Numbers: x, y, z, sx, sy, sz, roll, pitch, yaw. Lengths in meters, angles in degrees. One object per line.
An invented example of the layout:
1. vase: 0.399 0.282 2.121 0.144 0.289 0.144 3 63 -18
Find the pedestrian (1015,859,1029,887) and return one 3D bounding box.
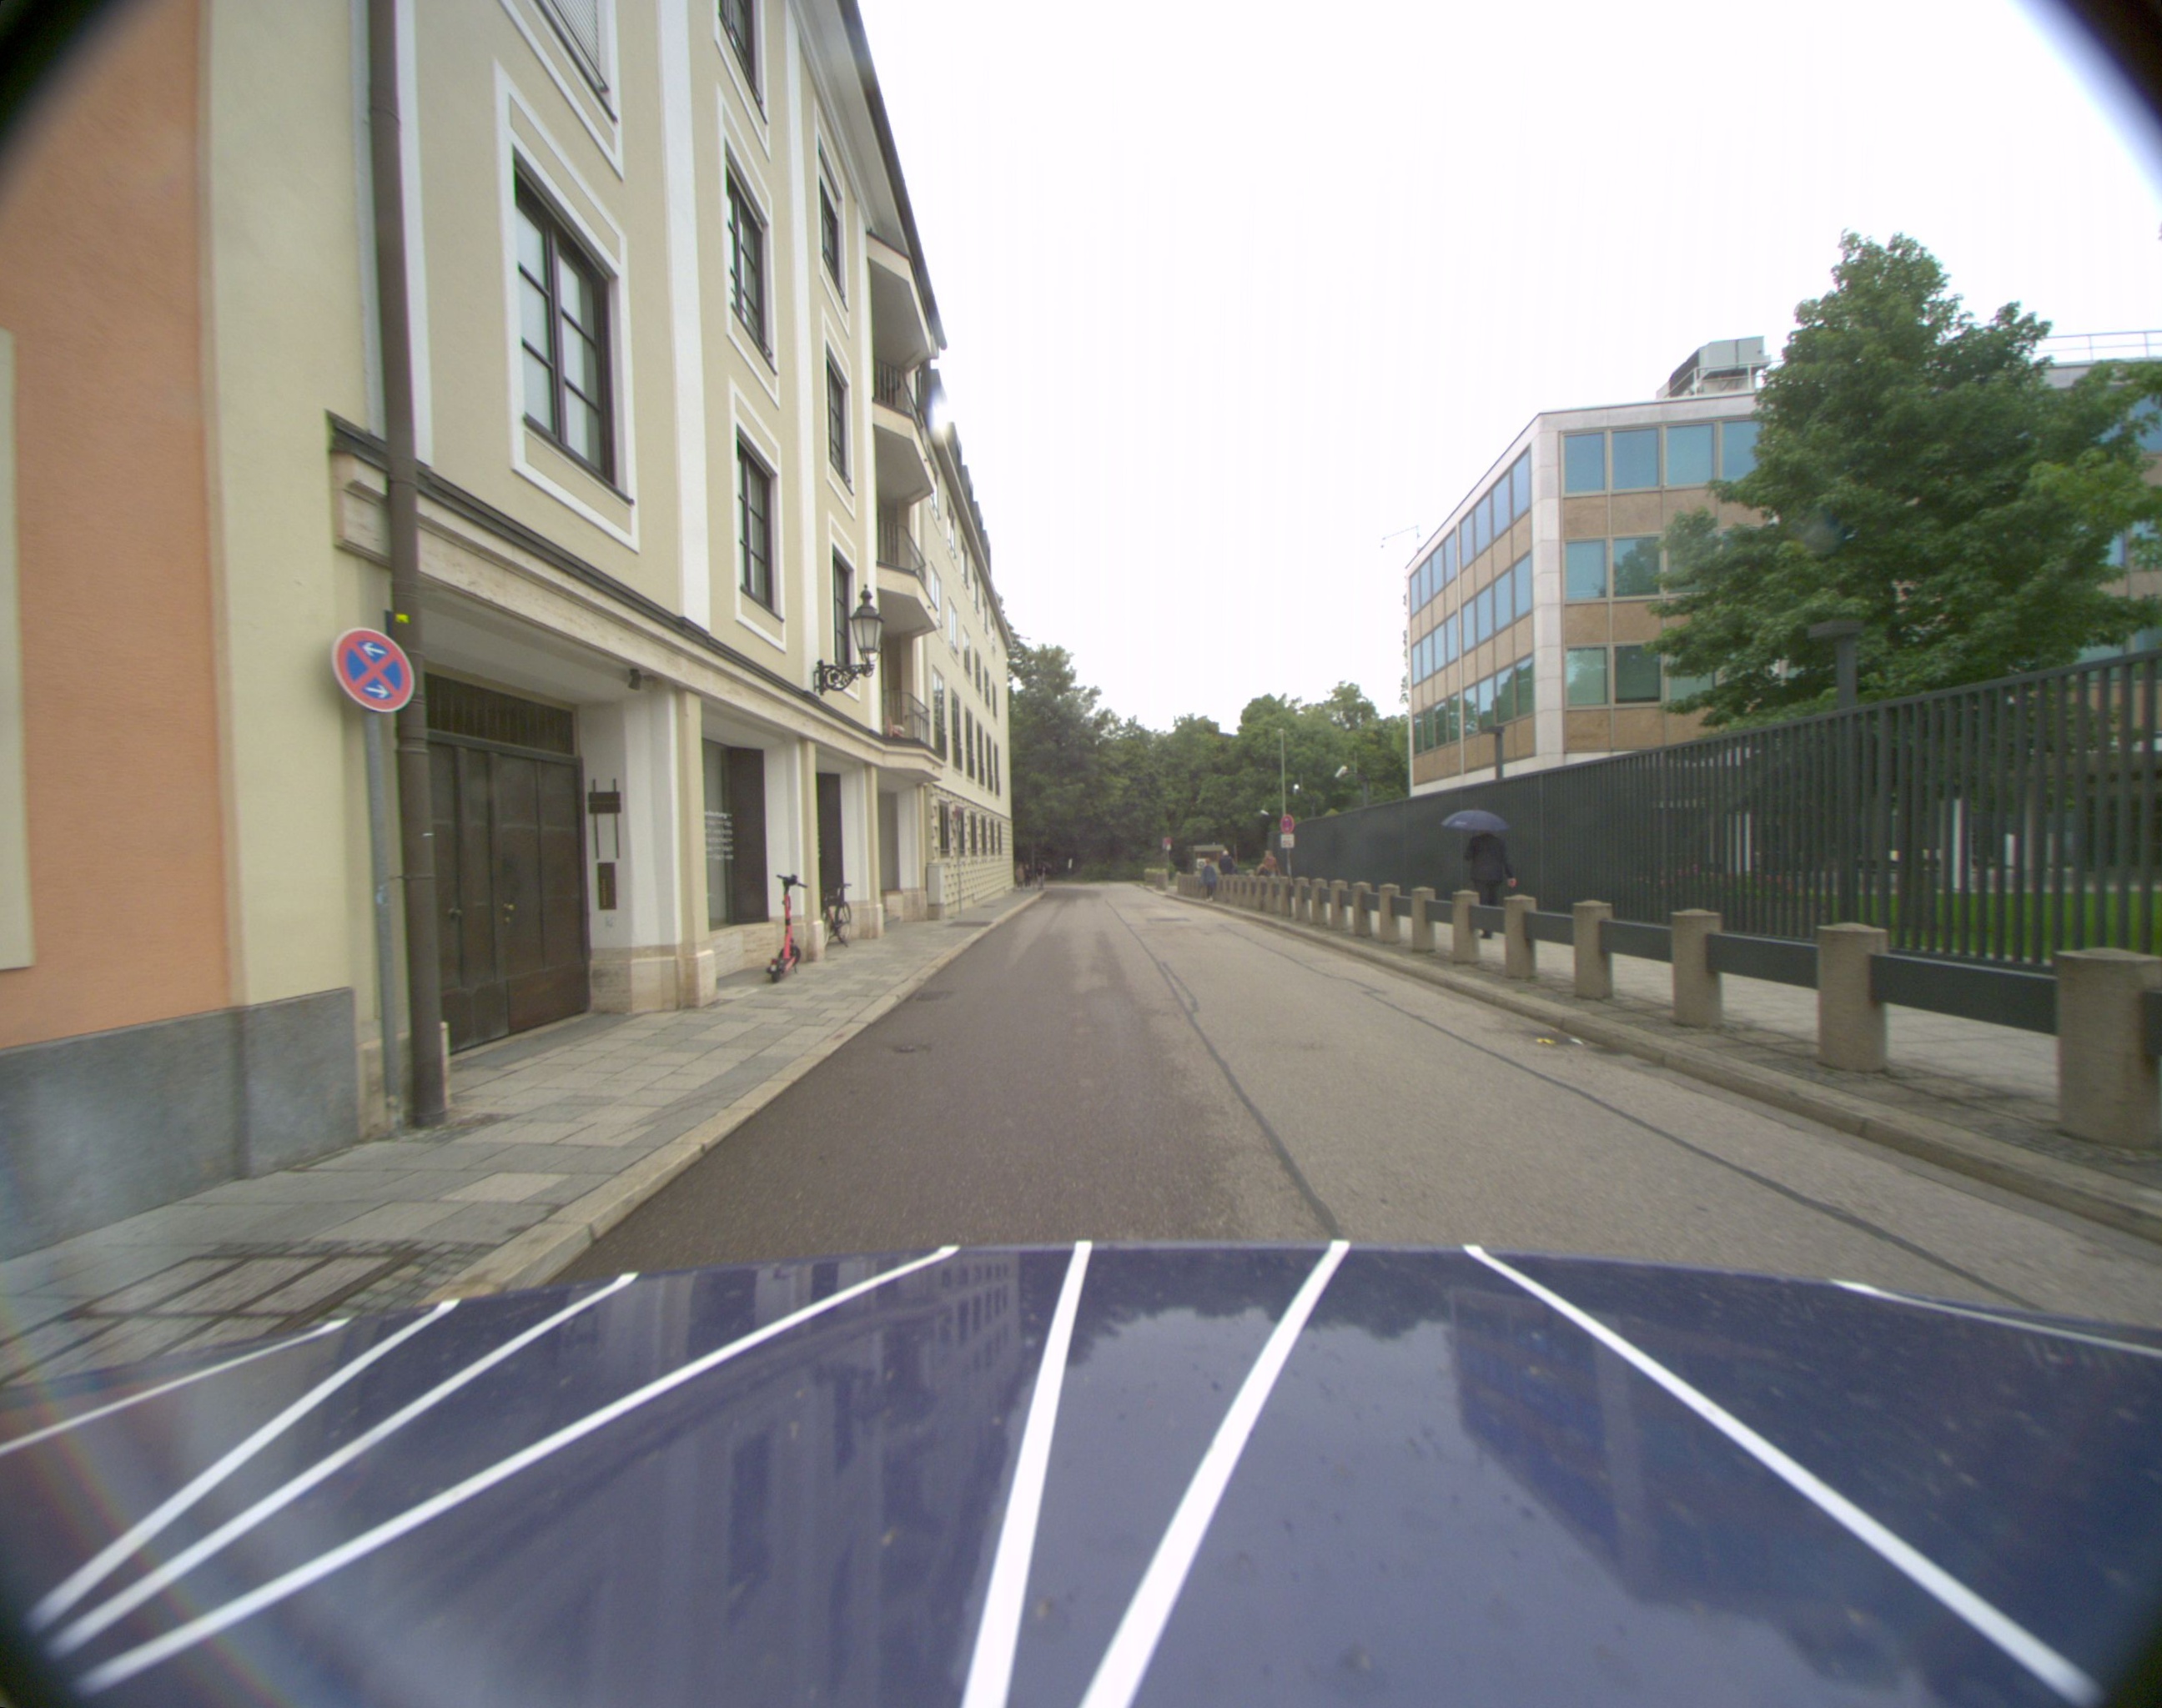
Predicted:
1. pedestrian: -3.554 1.147 45.871 0.753 1.671 0.656 -1 0 -1

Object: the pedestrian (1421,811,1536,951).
1. pedestrian: 6.255 0.418 12.030 1.226 2.091 1.117 -1 0 2

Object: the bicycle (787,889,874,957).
1. bicycle: -4.168 1.115 12.810 0.464 0.988 2.080 0 -1 10

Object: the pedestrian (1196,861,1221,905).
1. pedestrian: 4.414 0.997 26.382 0.640 1.458 1.079 -3 0 1

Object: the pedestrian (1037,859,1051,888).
1. pedestrian: -2.263 1.180 46.354 0.753 1.725 0.853 -1 0 -1

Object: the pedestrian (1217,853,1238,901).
1. pedestrian: 5.521 0.857 28.645 0.625 1.758 0.766 -1 0 0

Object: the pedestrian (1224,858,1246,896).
1. pedestrian: 6.526 0.963 32.209 0.778 1.531 0.933 -3 0 8

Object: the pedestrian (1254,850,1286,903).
1. pedestrian: 6.388 0.746 25.680 0.826 1.713 0.906 -3 0 5

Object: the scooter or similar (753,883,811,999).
1. scooter or similar: -3.608 1.011 9.241 0.466 1.251 1.275 1 1 -13
